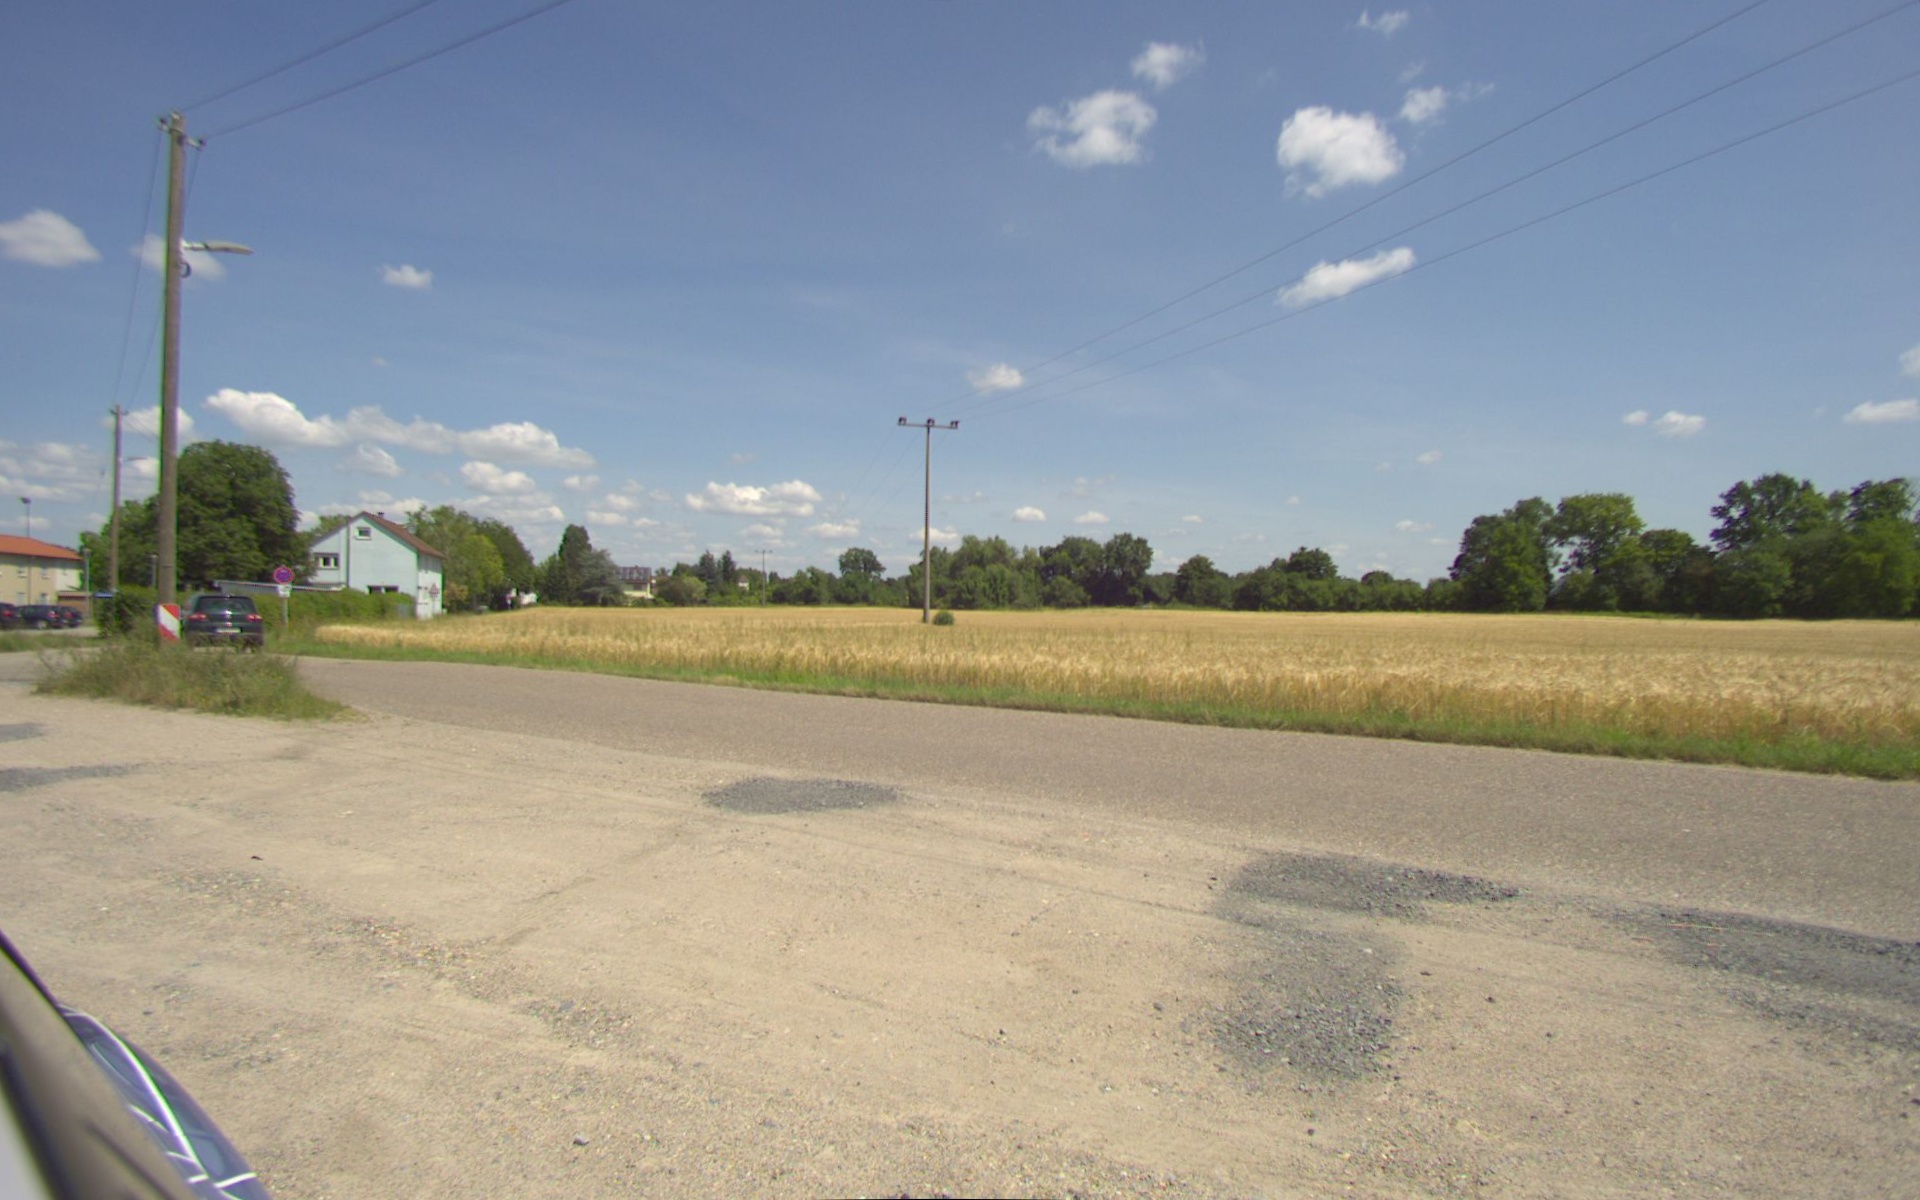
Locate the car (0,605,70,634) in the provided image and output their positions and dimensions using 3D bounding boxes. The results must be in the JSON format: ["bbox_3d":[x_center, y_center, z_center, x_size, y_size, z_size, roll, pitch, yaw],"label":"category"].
[{"bbox_3d":[-55.197,1.144,59.336,4.076,1.627,2.006,1,-1,-21],"label":"car"}]

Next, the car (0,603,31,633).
[{"bbox_3d":[-54.066,0.969,55.545,4.076,1.627,2.006,1,-1,-21],"label":"car"}]

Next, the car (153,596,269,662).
[{"bbox_3d":[-21.000,0.756,28.320,4.253,1.691,1.726,0,0,41],"label":"car"}]
